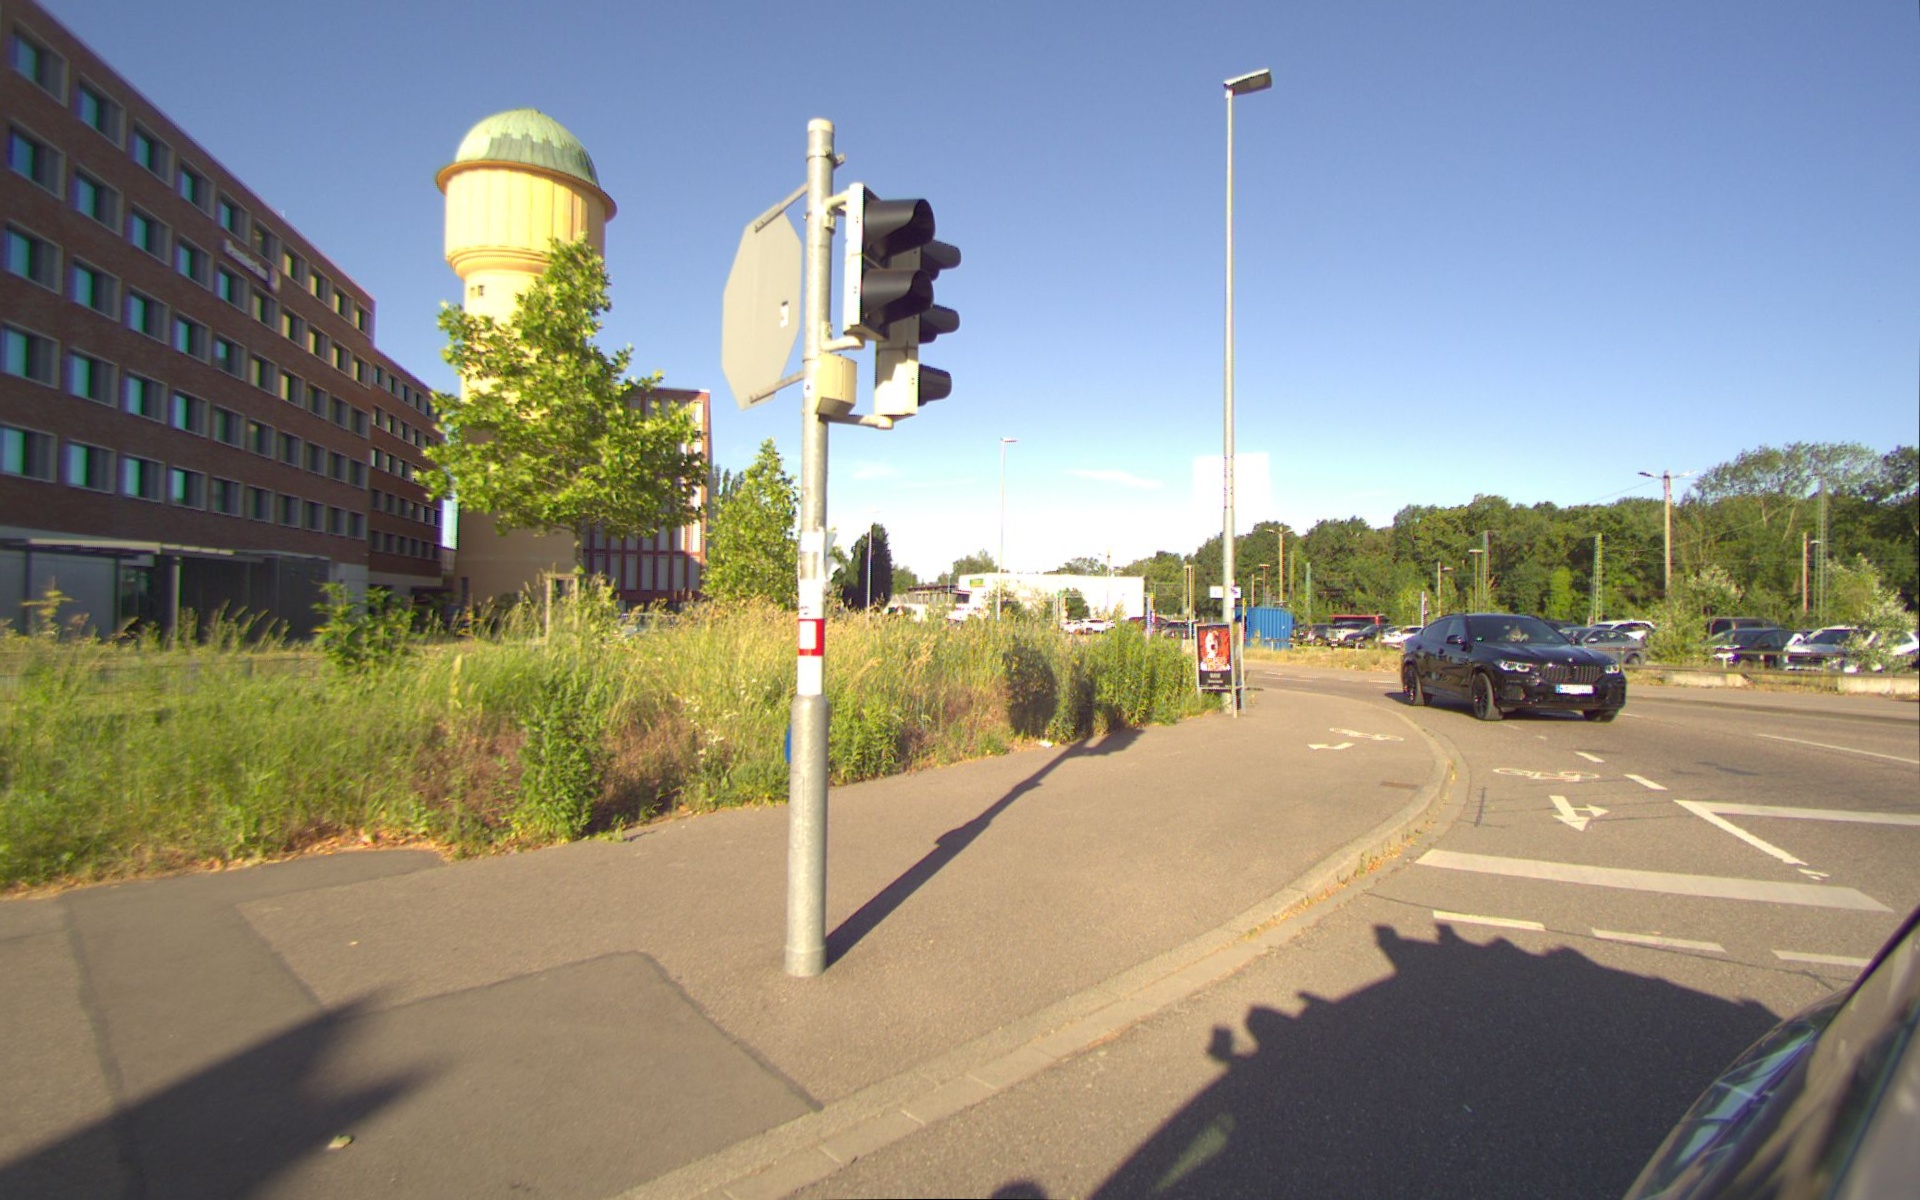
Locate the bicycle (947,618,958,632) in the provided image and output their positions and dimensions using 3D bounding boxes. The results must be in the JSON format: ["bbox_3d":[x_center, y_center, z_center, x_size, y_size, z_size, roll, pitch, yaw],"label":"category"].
[{"bbox_3d":[-0.614,2.049,83.904,0.493,1.139,1.568,0,-1,-15],"label":"bicycle"}]

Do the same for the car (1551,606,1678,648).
[{"bbox_3d":[29.075,1.167,45.001,4.604,1.716,2.043,-1,-1,-13],"label":"car"}]

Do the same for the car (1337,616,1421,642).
[{"bbox_3d":[24.749,1.678,59.804,4.353,1.461,1.873,0,-1,-17],"label":"car"}]

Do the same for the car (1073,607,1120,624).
[{"bbox_3d":[13.477,1.501,99.708,4.207,1.566,1.831,-1,-1,-19],"label":"car"}]

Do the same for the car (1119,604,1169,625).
[{"bbox_3d":[16.509,1.268,91.051,3.991,1.800,1.872,-1,-1,-9],"label":"car"}]

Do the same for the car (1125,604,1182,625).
[{"bbox_3d":[16.778,1.247,87.827,4.355,1.800,1.872,-1,-1,-9],"label":"car"}]

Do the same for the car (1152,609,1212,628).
[{"bbox_3d":[18.152,1.515,82.879,4.355,1.462,1.924,-1,-1,-10],"label":"car"}]

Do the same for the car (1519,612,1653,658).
[{"bbox_3d":[21.153,1.157,34.224,3.842,1.472,1.842,0,-1,-20],"label":"car"}]

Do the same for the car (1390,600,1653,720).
[{"bbox_3d":[9.196,0.898,17.161,2.011,1.736,4.746,-1,0,4],"label":"car"}]

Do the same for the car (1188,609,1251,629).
[{"bbox_3d":[19.884,1.426,77.548,4.353,1.395,1.873,-1,-1,-17],"label":"car"}]

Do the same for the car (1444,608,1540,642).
[{"bbox_3d":[27.295,1.248,51.976,4.114,1.610,1.990,-1,-1,-17],"label":"car"}]

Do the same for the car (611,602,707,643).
[{"bbox_3d":[-14.063,1.050,47.474,4.242,1.851,2.004,0,-1,-15],"label":"car"}]

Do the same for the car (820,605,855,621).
[{"bbox_3d":[-21.042,2.236,173.406,5.652,2.736,2.004,0,-1,-15],"label":"car"}]

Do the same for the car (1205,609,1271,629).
[{"bbox_3d":[20.674,1.402,75.327,4.353,1.395,1.873,-1,-1,-17],"label":"car"}]

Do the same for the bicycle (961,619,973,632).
[{"bbox_3d":[0.552,2.050,81.987,0.546,1.078,1.727,0,-1,-15],"label":"bicycle"}]

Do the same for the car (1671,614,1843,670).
[{"bbox_3d":[22.782,1.171,28.972,3.916,1.535,1.859,1,-1,-15],"label":"car"}]

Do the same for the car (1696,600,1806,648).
[{"bbox_3d":[31.184,0.932,39.902,3.701,1.756,1.774,-1,0,-22],"label":"car"}]

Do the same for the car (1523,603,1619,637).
[{"bbox_3d":[29.021,0.942,48.058,3.916,1.524,1.730,-1,0,-17],"label":"car"}]

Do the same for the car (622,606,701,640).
[{"bbox_3d":[-17.871,1.371,60.747,4.437,2.039,2.004,0,-1,-13],"label":"car"}]

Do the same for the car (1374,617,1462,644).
[{"bbox_3d":[25.897,1.699,57.280,4.353,1.395,1.873,-1,-1,-17],"label":"car"}]

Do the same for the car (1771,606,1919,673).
[{"bbox_3d":[23.471,0.993,26.349,3.972,1.631,1.890,1,-1,-20],"label":"car"}]

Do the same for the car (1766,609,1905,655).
[{"bbox_3d":[32.063,1.143,37.112,3.916,1.614,2.004,1,-1,-16],"label":"car"}]

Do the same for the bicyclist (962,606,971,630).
[{"bbox_3d":[0.539,1.466,82.051,0.557,1.895,0.855,0,-1,-16],"label":"bicyclist"}]

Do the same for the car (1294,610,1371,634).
[{"bbox_3d":[23.954,1.409,65.118,4.353,1.447,1.873,-1,-1,-17],"label":"car"}]

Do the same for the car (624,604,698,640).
[{"bbox_3d":[-17.014,1.231,57.755,3.917,2.006,2.003,0,-1,-12],"label":"car"}]

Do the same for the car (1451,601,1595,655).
[{"bbox_3d":[20.575,1.019,37.004,4.442,1.766,2.072,3,-2,-17],"label":"car"}]

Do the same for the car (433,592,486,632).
[{"bbox_3d":[-29.907,0.733,60.581,1.829,2.293,4.947,0,-1,-14],"label":"car"}]

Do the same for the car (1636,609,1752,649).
[{"bbox_3d":[30.604,1.181,42.213,3.860,1.506,1.895,-1,-1,-16],"label":"car"}]

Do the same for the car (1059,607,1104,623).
[{"bbox_3d":[12.242,1.540,101.772,4.071,1.505,1.765,-1,-1,-20],"label":"car"}]

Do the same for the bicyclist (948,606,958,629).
[{"bbox_3d":[-0.580,1.467,83.960,0.557,1.895,0.855,0,-1,-16],"label":"bicyclist"}]

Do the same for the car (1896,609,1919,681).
[{"bbox_3d":[24.328,1.027,23.699,4.057,1.676,1.876,0,-1,-20],"label":"car"}]

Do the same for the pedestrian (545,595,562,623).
[{"bbox_3d":[-28.499,0.634,70.979,0.879,1.887,0.971,0,-1,-37],"label":"pedestrian"}]

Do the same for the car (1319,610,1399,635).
[{"bbox_3d":[24.625,1.376,62.525,4.353,1.485,1.873,-1,-1,-17],"label":"car"}]
